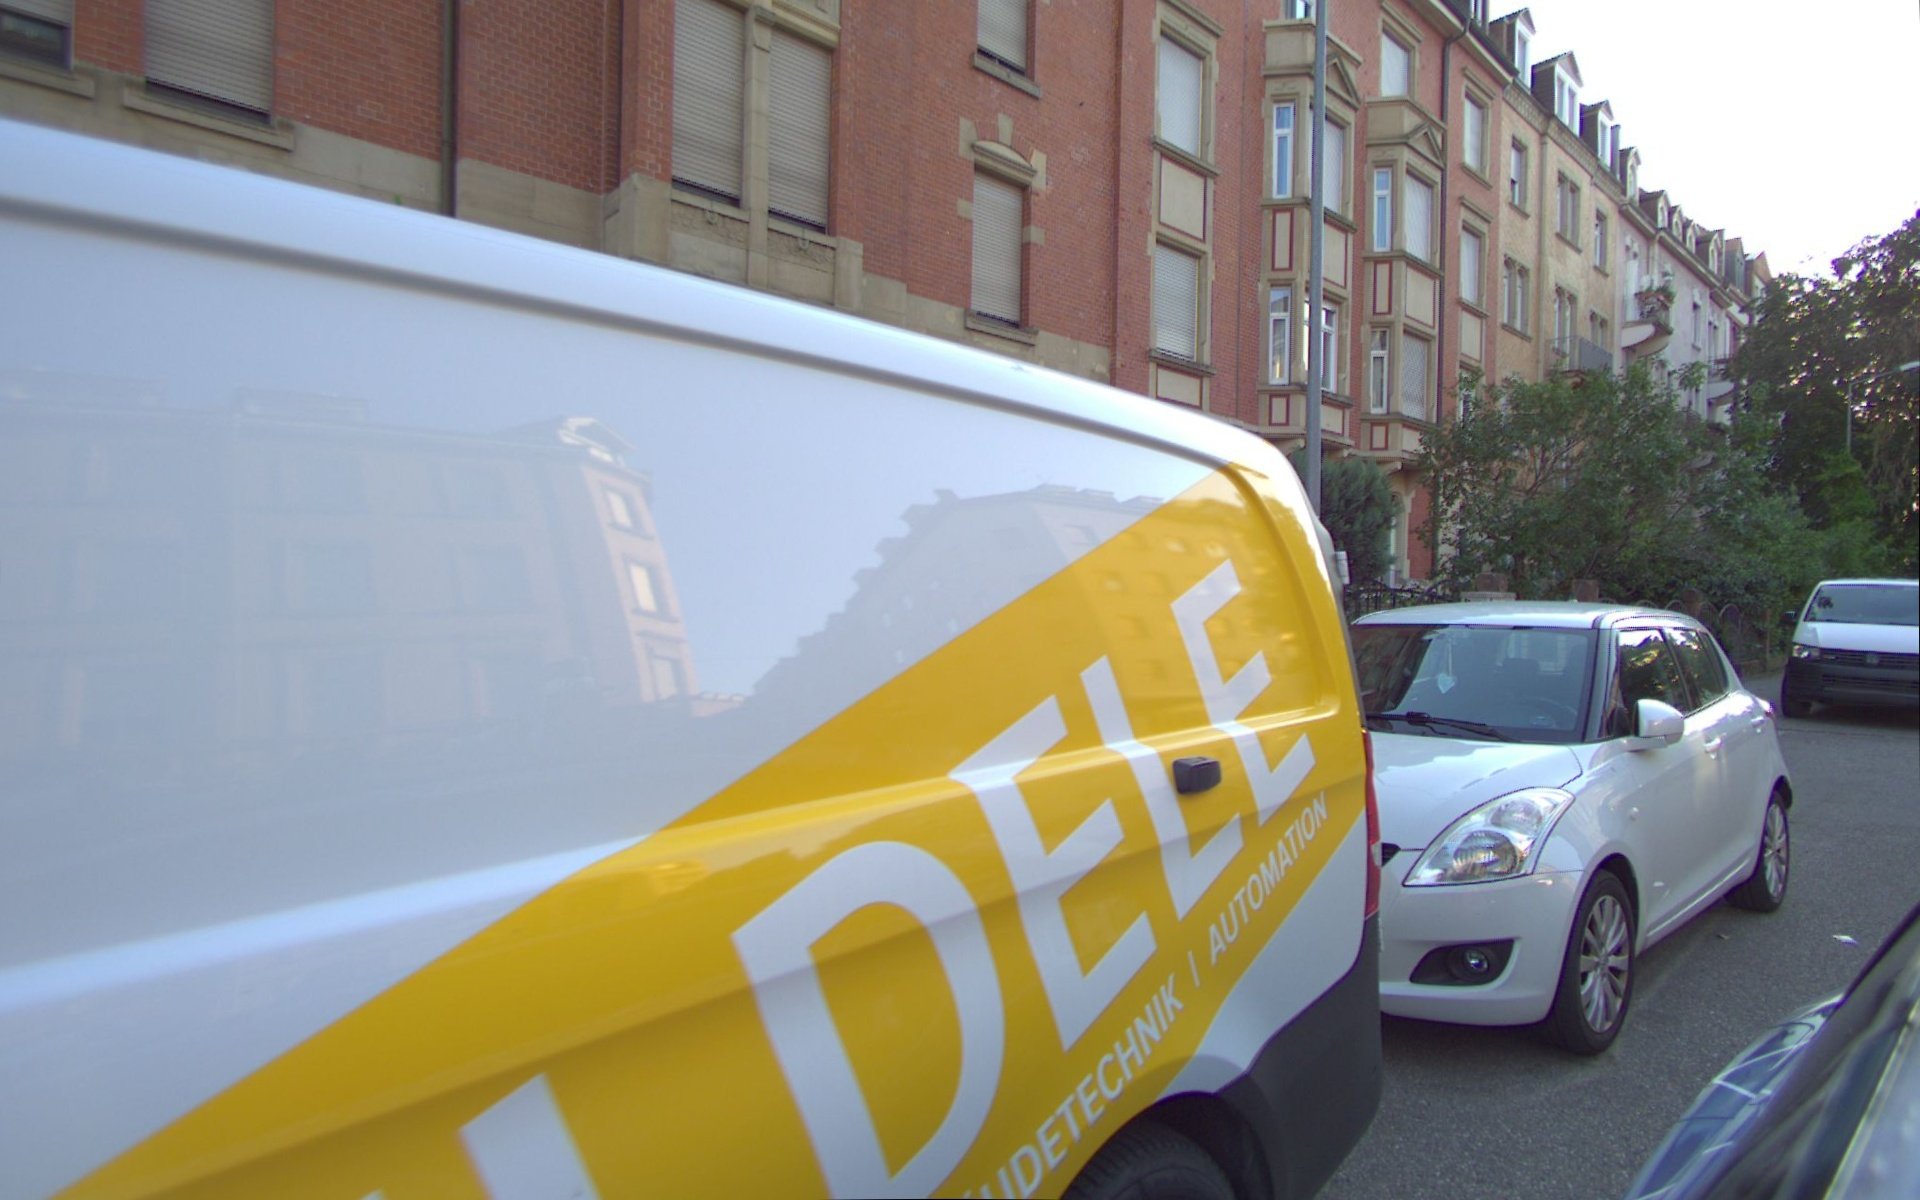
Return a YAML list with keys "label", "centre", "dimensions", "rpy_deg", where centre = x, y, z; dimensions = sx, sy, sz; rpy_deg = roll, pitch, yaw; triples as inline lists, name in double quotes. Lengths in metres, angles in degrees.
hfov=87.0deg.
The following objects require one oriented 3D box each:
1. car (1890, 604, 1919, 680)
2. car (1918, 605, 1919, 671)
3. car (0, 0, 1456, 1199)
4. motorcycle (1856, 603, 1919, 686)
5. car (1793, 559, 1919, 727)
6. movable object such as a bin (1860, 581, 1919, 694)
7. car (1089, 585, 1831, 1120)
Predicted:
- label: "car"
  centre: [21.759, 0.872, 22.007]
  dimensions: [4.248, 1.571, 1.723]
  rpy_deg: [0, 0, -40]
- label: "car"
  centre: [25.640, 0.924, 25.410]
  dimensions: [4.755, 1.602, 1.760]
  rpy_deg: [0, -1, -40]
- label: "car"
  centre: [-1.434, 0.486, 1.151]
  dimensions: [4.995, 1.908, 1.896]
  rpy_deg: [0, 0, -42]
- label: "motorcycle"
  centre: [18.667, 0.862, 19.259]
  dimensions: [2.065, 1.500, 1.128]
  rpy_deg: [2, 2, 16]
- label: "car"
  centre: [13.791, 0.538, 14.681]
  dimensions: [5.451, 2.064, 1.864]
  rpy_deg: [0, 2, -43]
- label: "movable object such as a bin"
  centre: [17.246, 0.656, 18.109]
  dimensions: [2.285, 1.901, 1.414]
  rpy_deg: [0, 2, -42]
- label: "car"
  centre: [2.520, 0.703, 4.692]
  dimensions: [3.792, 1.496, 1.678]
  rpy_deg: [0, 0, -39]
